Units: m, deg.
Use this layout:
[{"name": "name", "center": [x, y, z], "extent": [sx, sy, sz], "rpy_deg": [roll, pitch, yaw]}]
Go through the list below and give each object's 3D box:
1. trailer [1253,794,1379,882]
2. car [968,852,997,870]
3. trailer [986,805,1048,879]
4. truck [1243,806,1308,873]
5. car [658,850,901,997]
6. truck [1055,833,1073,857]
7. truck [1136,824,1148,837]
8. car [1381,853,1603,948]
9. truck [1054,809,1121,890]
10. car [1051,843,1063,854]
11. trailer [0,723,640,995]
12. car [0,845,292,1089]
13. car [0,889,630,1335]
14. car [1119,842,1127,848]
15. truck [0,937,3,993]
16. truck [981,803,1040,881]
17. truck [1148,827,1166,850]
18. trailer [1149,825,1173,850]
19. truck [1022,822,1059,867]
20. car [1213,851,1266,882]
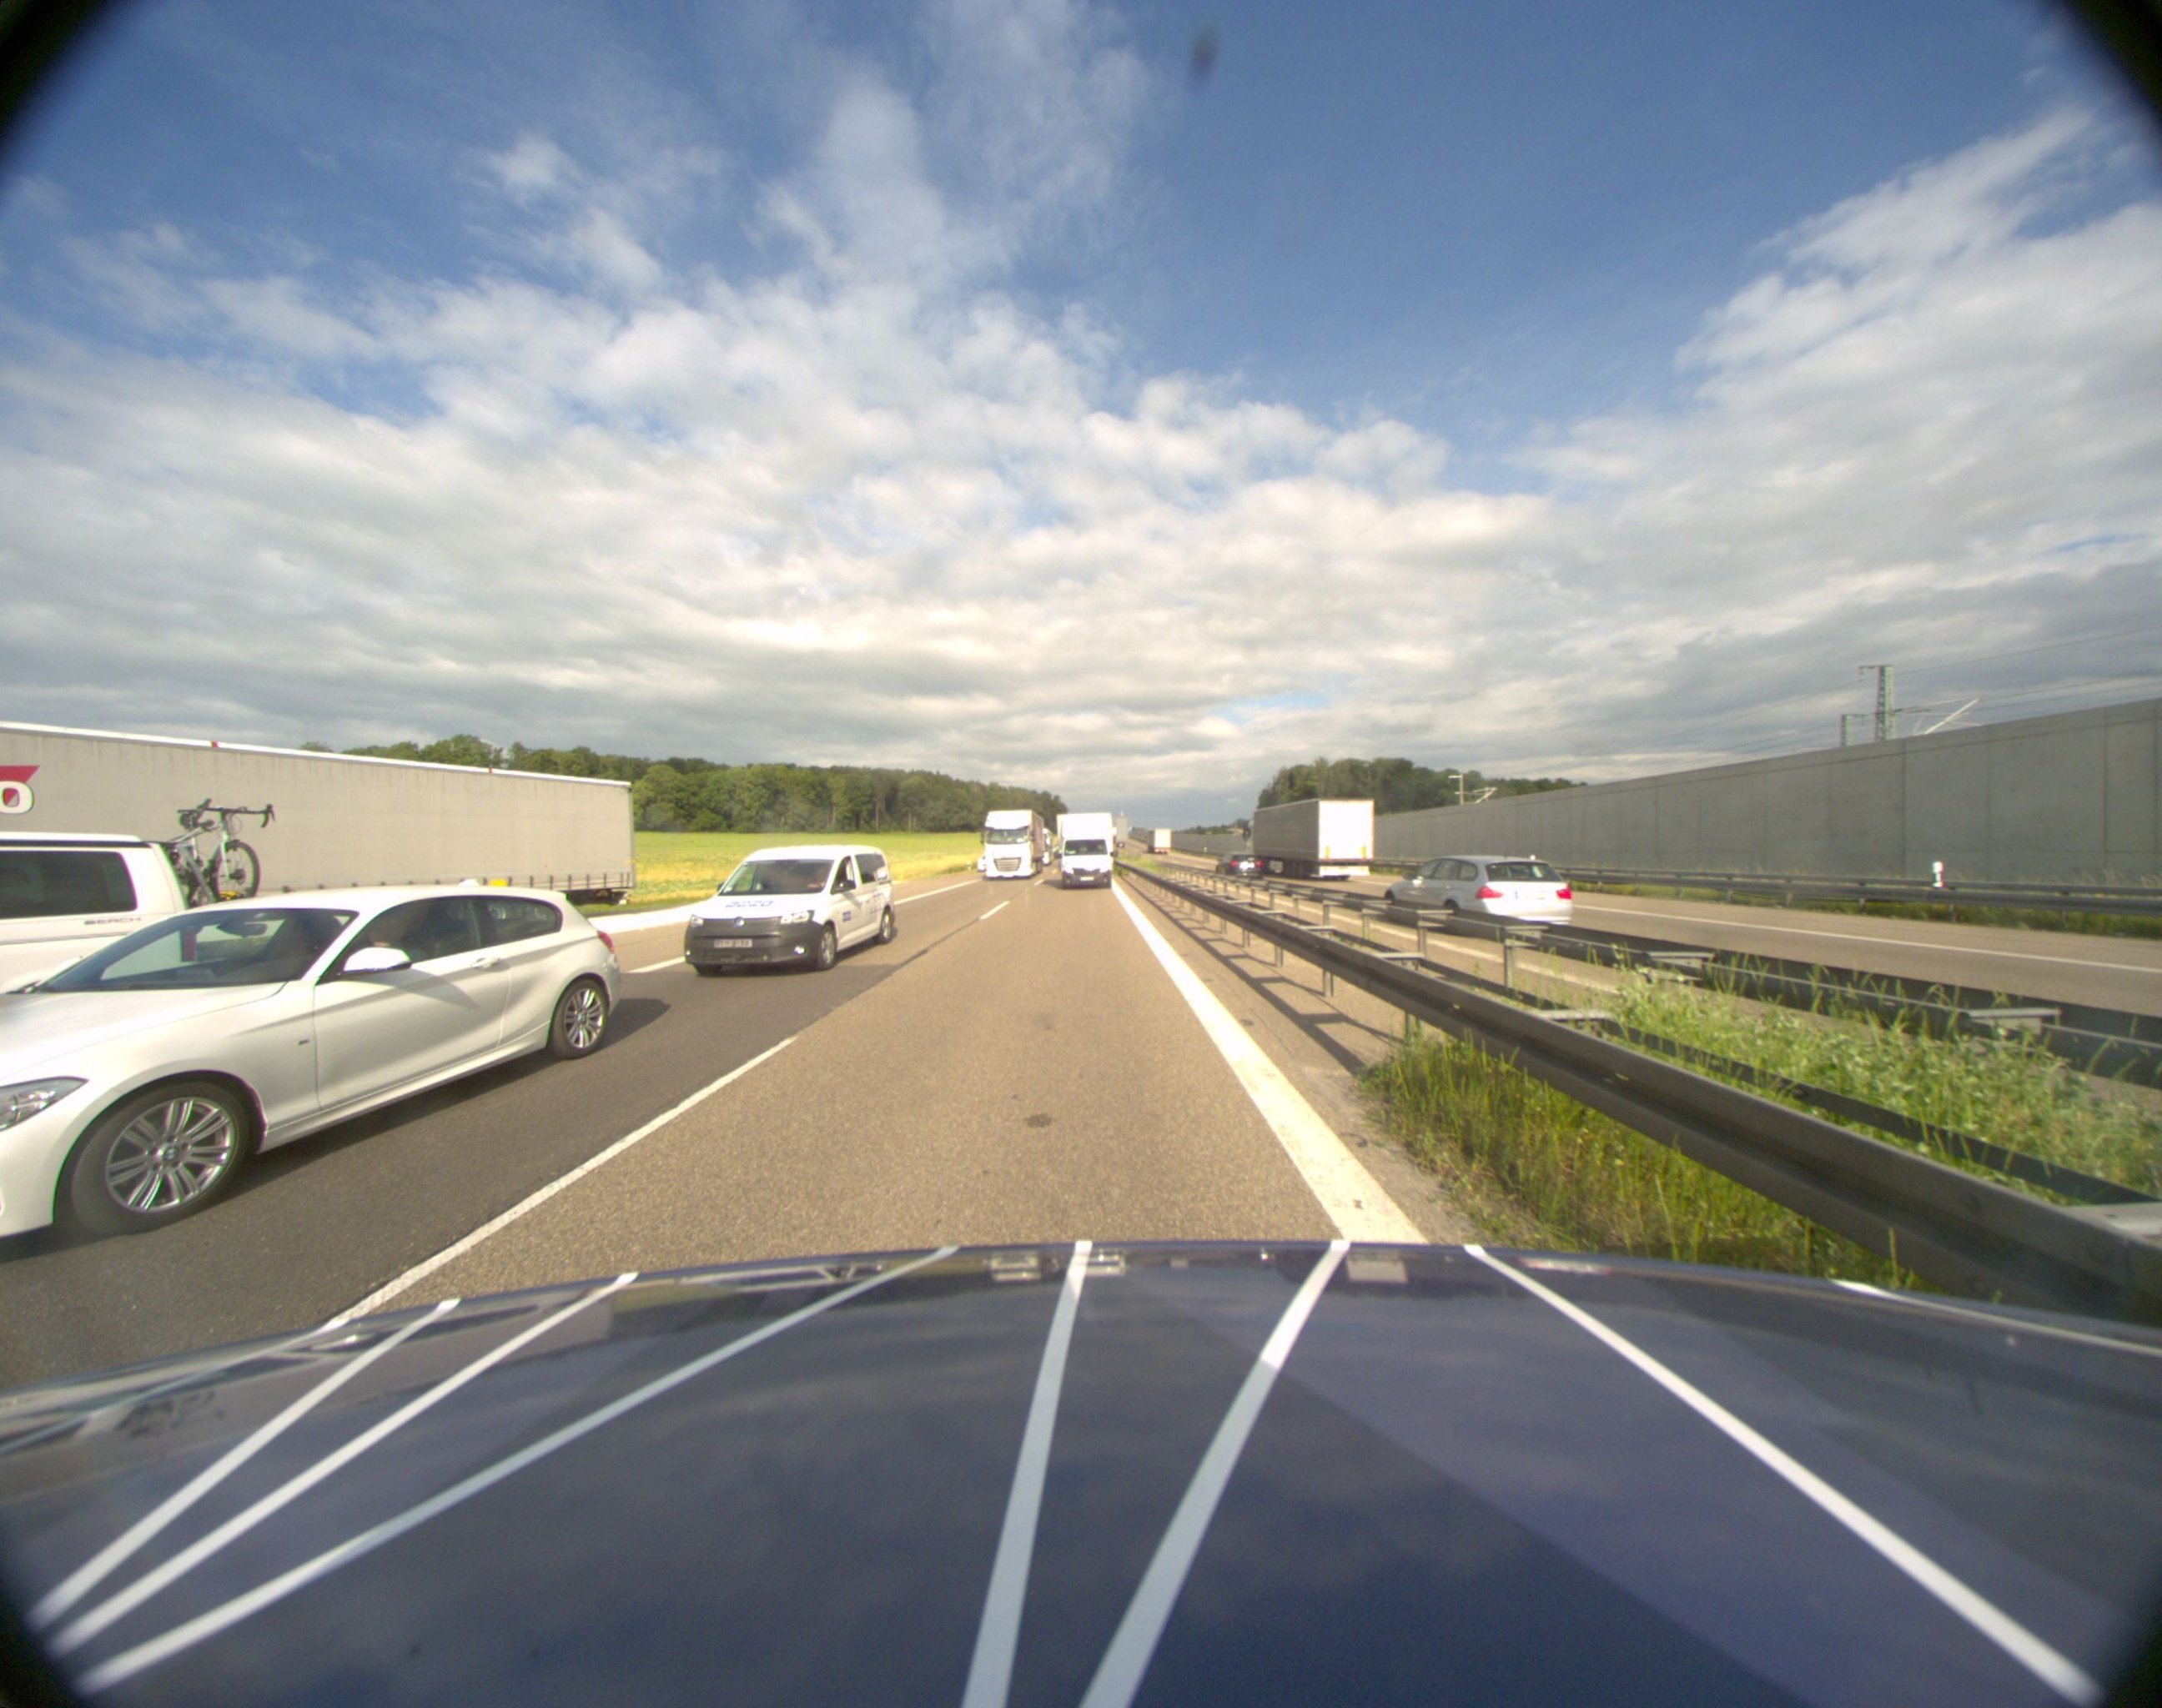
[{"name": "trailer", "center": [12.439, -0.785, 42.064], "extent": [2.797, 4.054, 13.518], "rpy_deg": [0, 1, 0]}, {"name": "car", "center": [-8.352, 0.560, 64.560], "extent": [1.871, 1.424, 4.629], "rpy_deg": [-2, 0, -1]}, {"name": "trailer", "center": [-3.984, -0.833, 50.976], "extent": [2.742, 4.137, 14.016], "rpy_deg": [-2, 1, 0]}, {"name": "truck", "center": [12.491, -0.880, 49.202], "extent": [2.783, 4.064, 5.531], "rpy_deg": [1, 1, 0]}, {"name": "car", "center": [-4.289, 0.848, 11.749], "extent": [1.729, 1.746, 4.702], "rpy_deg": [-2, 0, 1]}, {"name": "truck", "center": [-3.144, -1.676, 144.628], "extent": [2.946, 4.094, 16.207], "rpy_deg": [-1, 0, 0]}, {"name": "truck", "center": [20.646, -7.753, 256.073], "extent": [2.952, 4.037, 11.745], "rpy_deg": [-2, 1, 0]}, {"name": "car", "center": [7.355, 0.734, 14.157], "extent": [1.878, 1.443, 4.232], "rpy_deg": [-1, 0, 1]}, {"name": "truck", "center": [0.285, -0.211, 35.718], "extent": [2.500, 3.082, 12.037], "rpy_deg": [-2, 0, 0]}, {"name": "car", "center": [-4.095, -0.962, 129.750], "extent": [1.707, 1.746, 4.676], "rpy_deg": [-2, 0, 1]}, {"name": "trailer", "center": [-16.524, 0.054, 16.591], "extent": [2.739, 4.136, 13.843], "rpy_deg": [-2, 0, 15]}, {"name": "car", "center": [-9.757, 0.960, 5.485], "extent": [1.797, 1.914, 5.274], "rpy_deg": [-2, 1, 20]}, {"name": "car", "center": [-4.806, 1.061, 4.455], "extent": [1.708, 1.424, 4.232], "rpy_deg": [-2, 0, 1]}, {"name": "car", "center": [9.861, -2.139, 176.827], "extent": [1.637, 1.393, 3.896], "rpy_deg": [-1, 0, 0]}, {"name": "truck", "center": [-18.438, 0.109, 9.609], "extent": [2.717, 4.149, 4.765], "rpy_deg": [-2, 0, 16]}, {"name": "truck", "center": [-4.039, -0.717, 44.671], "extent": [2.736, 4.150, 5.766], "rpy_deg": [-2, 1, 0]}, {"name": "truck", "center": [13.570, -2.693, 136.383], "extent": [2.692, 4.045, 5.878], "rpy_deg": [-1, 1, 1]}, {"name": "trailer", "center": [13.506, -2.642, 129.580], "extent": [2.690, 4.014, 13.790], "rpy_deg": [-1, 0, 0]}, {"name": "truck", "center": [-3.982, -0.906, 76.878], "extent": [2.946, 4.094, 12.523], "rpy_deg": [-1, 0, 0]}, {"name": "car", "center": [7.897, 0.576, 38.155], "extent": [1.656, 1.443, 3.955], "rpy_deg": [-1, 1, -2]}]
